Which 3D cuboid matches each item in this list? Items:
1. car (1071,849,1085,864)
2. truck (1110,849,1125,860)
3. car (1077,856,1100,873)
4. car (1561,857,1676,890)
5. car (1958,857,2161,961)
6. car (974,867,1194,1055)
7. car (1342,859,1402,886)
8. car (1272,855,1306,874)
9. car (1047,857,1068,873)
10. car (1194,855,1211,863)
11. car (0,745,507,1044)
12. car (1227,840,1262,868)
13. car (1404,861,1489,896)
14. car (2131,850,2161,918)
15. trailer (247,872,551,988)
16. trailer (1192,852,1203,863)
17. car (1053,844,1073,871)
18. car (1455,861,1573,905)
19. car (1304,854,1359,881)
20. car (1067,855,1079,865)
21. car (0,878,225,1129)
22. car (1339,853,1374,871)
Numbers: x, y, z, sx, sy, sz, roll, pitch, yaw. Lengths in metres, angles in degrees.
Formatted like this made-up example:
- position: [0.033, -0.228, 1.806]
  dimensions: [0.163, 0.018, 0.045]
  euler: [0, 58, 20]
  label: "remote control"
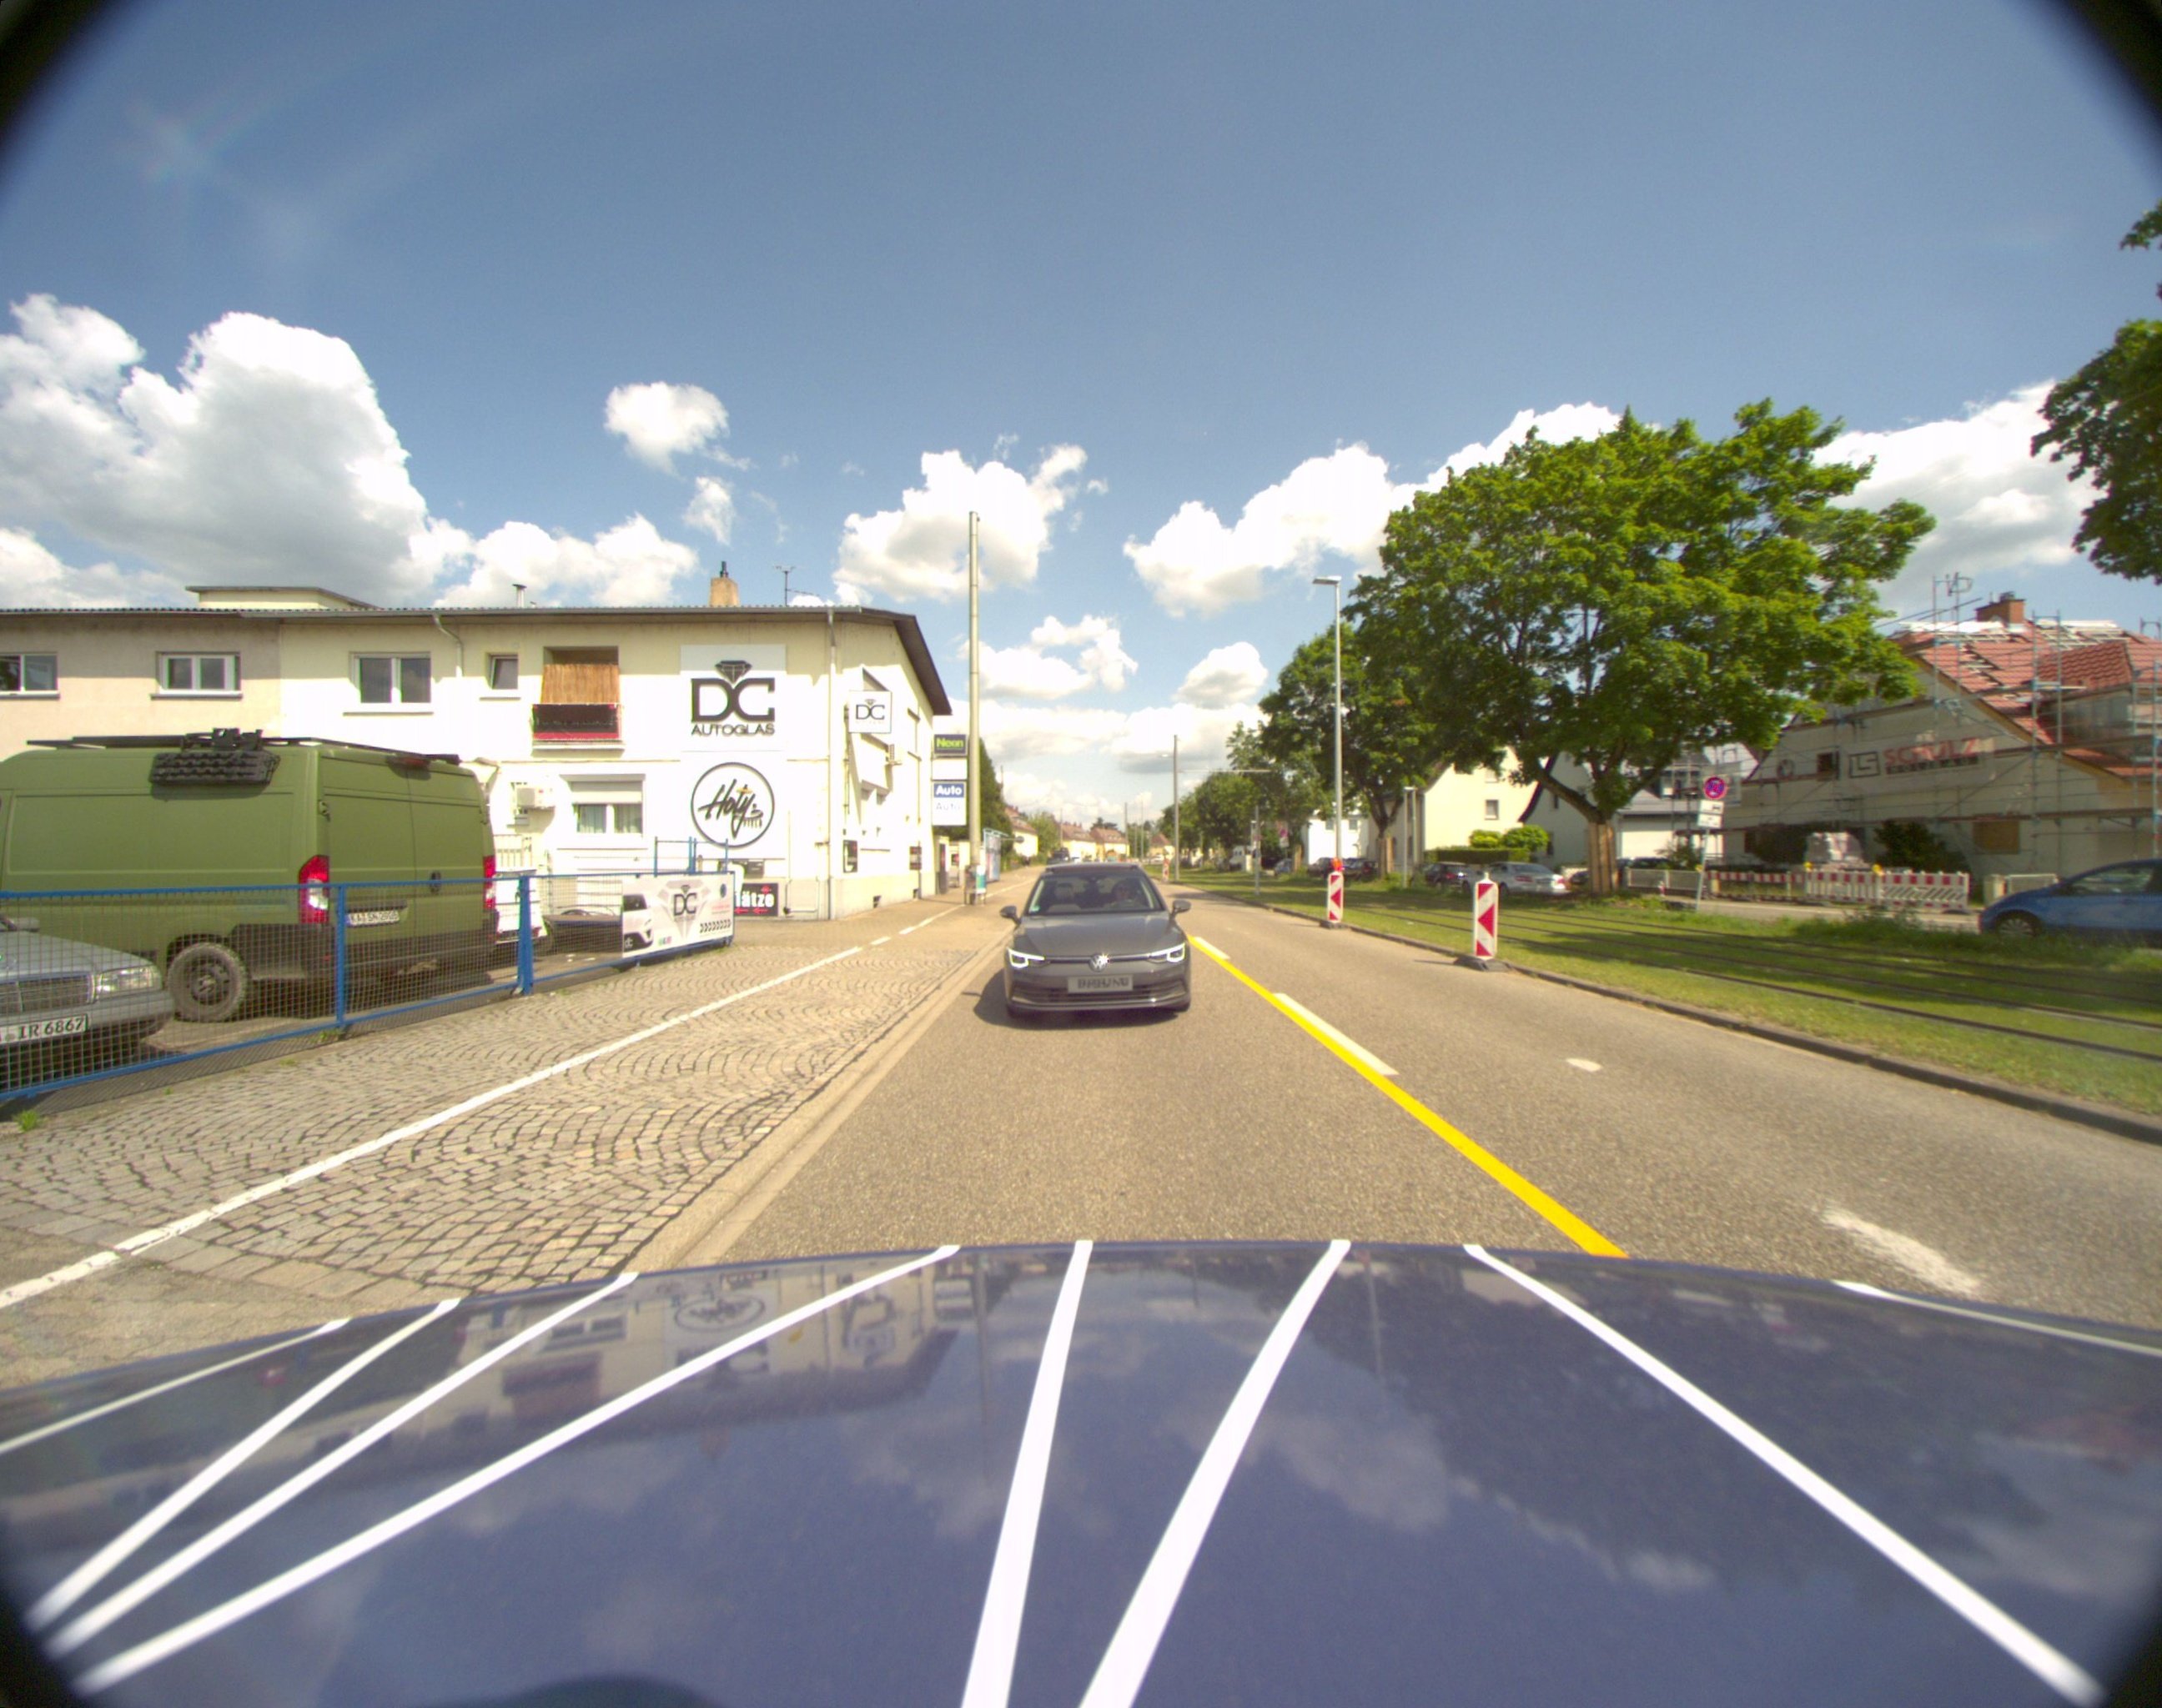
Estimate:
- position: [-0.473, 0.473, 136.335]
  dimensions: [1.923, 2.522, 5.346]
  euler: [1, 0, 5]
  label: "car"
- position: [9.781, 0.129, 200.977]
  dimensions: [2.529, 2.931, 7.869]
  euler: [1, 1, 14]
  label: "truck"
- position: [0.726, 0.977, 72.589]
  dimensions: [1.998, 1.566, 4.001]
  euler: [0, 0, 3]
  label: "car"
- position: [25.070, 0.881, 35.562]
  dimensions: [3.997, 1.393, 1.982]
  euler: [-1, 1, 1]
  label: "car"
- position: [16.366, 0.805, 11.283]
  dimensions: [1.999, 1.445, 3.999]
  euler: [1, 1, -1]
  label: "car"
- position: [0.095, 0.931, 8.487]
  dimensions: [1.786, 1.412, 4.290]
  euler: [-2, 0, 2]
  label: "car"
- position: [17.050, 1.058, 44.768]
  dimensions: [1.998, 1.430, 3.999]
  euler: [1, 1, 0]
  label: "car"
- position: [16.649, 0.814, 60.991]
  dimensions: [1.758, 1.427, 3.889]
  euler: [1, 1, 3]
  label: "car"
- position: [-2.178, 1.001, 71.022]
  dimensions: [1.655, 1.423, 4.096]
  euler: [1, 1, 2]
  label: "car"
- position: [17.163, 0.701, 107.261]
  dimensions: [1.785, 1.087, 3.836]
  euler: [1, 1, 0]
  label: "car"
- position: [-8.863, 0.348, 7.655]
  dimensions: [4.547, 2.558, 2.151]
  euler: [0, 1, 2]
  label: "car"
- position: [16.817, -0.009, 78.555]
  dimensions: [1.999, 2.714, 6.461]
  euler: [1, 0, -1]
  label: "car"
- position: [16.523, 1.067, 34.557]
  dimensions: [1.998, 1.310, 3.852]
  euler: [2, 1, 0]
  label: "car"
- position: [28.209, 0.757, 18.137]
  dimensions: [3.656, 1.674, 1.873]
  euler: [1, 1, 0]
  label: "car"
- position: [-8.726, 0.939, 9.861]
  dimensions: [2.789, 1.325, 1.303]
  euler: [1, 0, 1]
  label: "trailer"
- position: [17.226, 0.528, 112.688]
  dimensions: [1.302, 1.510, 2.282]
  euler: [1, 0, 0]
  label: "trailer"
- position: [-1.915, 0.357, 81.845]
  dimensions: [2.001, 2.744, 4.878]
  euler: [1, 0, 1]
  label: "car"
- position: [16.497, 1.047, 29.301]
  dimensions: [1.809, 1.474, 4.939]
  euler: [1, 1, 1]
  label: "car"
- position: [16.711, 0.887, 50.890]
  dimensions: [1.999, 1.681, 4.390]
  euler: [0, 1, -3]
  label: "car"
- position: [-1.220, 1.006, 122.992]
  dimensions: [1.756, 1.480, 4.627]
  euler: [1, 0, 1]
  label: "car"
- position: [-8.373, 0.897, 4.841]
  dimensions: [4.191, 1.423, 1.821]
  euler: [0, 1, 8]
  label: "car"
- position: [25.422, 0.682, 70.238]
  dimensions: [1.907, 1.568, 4.000]
  euler: [1, 1, 1]
  label: "car"
